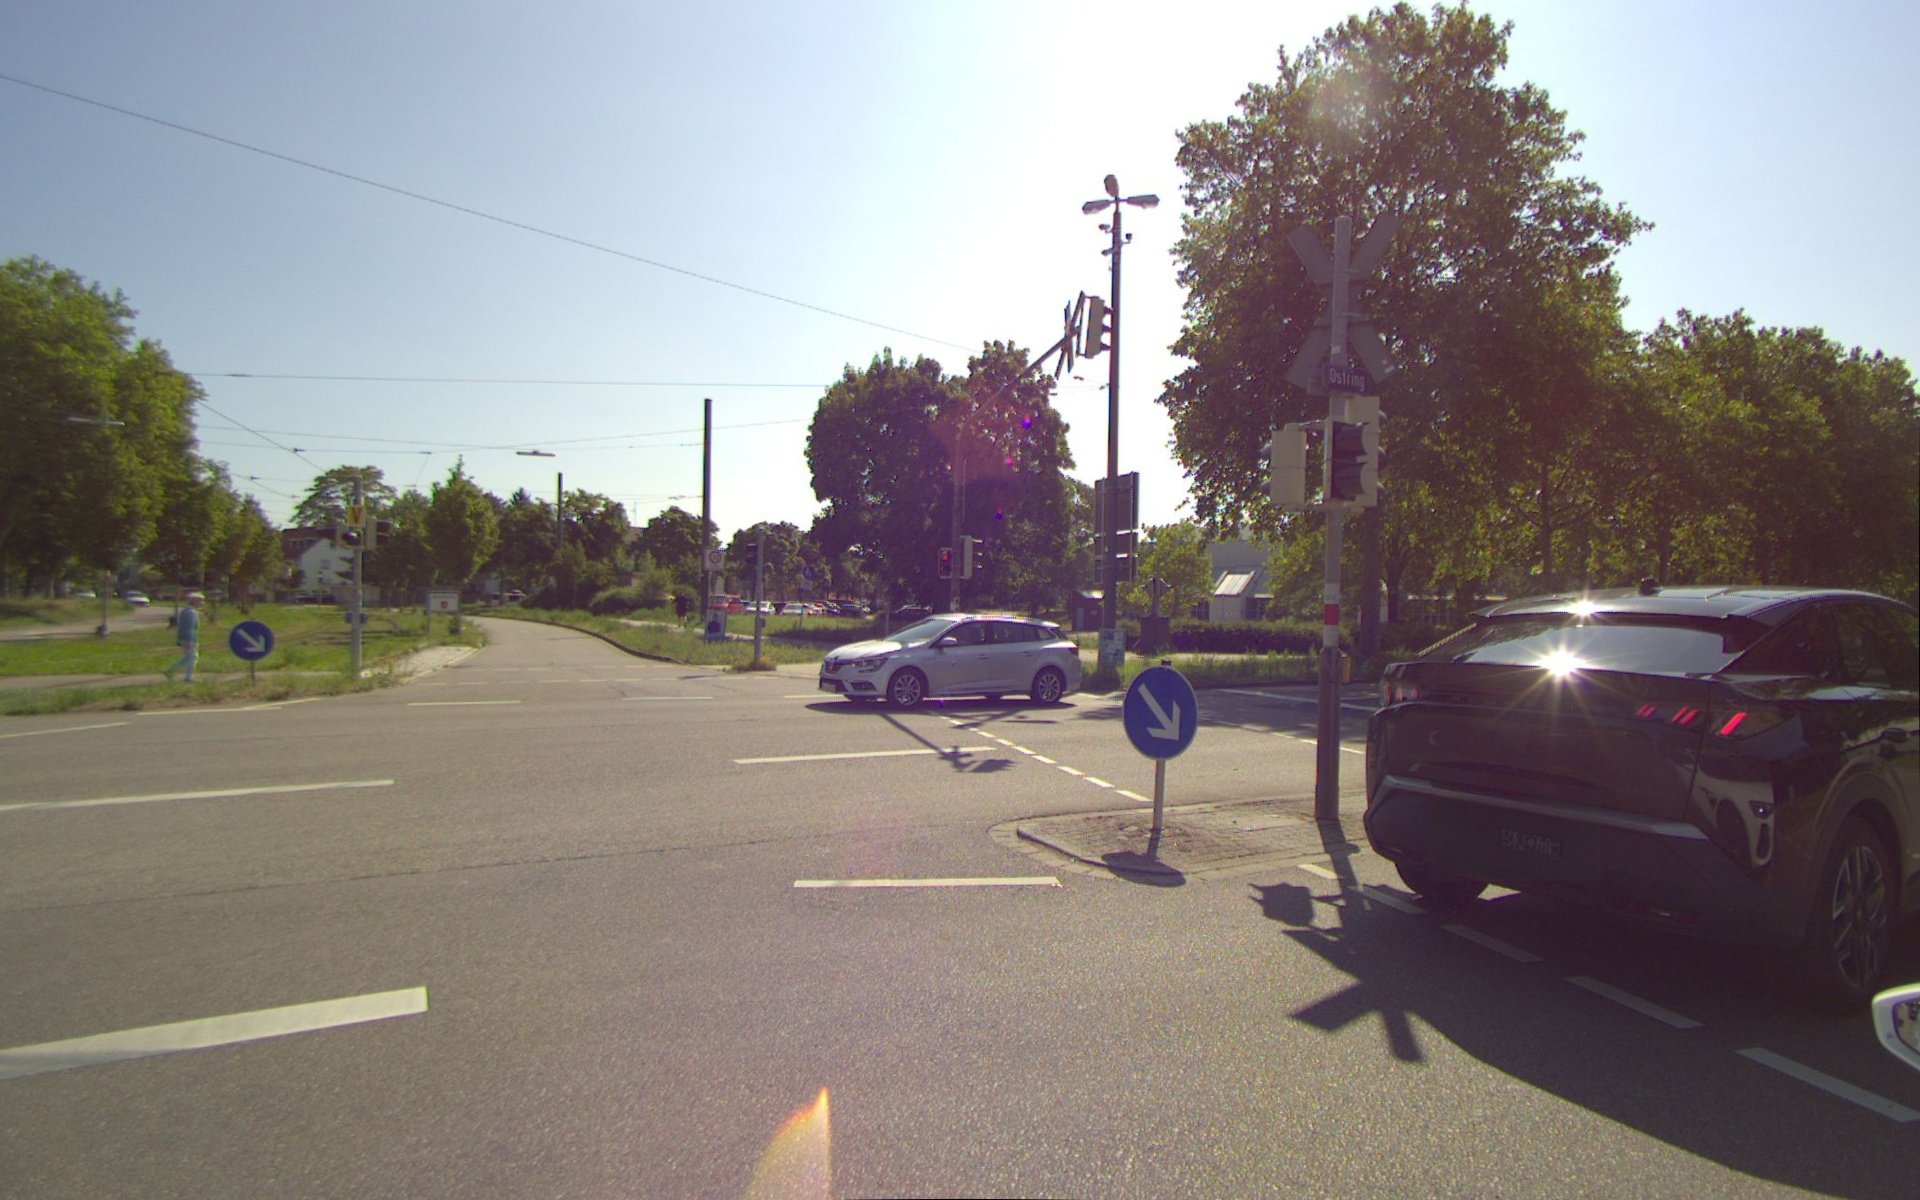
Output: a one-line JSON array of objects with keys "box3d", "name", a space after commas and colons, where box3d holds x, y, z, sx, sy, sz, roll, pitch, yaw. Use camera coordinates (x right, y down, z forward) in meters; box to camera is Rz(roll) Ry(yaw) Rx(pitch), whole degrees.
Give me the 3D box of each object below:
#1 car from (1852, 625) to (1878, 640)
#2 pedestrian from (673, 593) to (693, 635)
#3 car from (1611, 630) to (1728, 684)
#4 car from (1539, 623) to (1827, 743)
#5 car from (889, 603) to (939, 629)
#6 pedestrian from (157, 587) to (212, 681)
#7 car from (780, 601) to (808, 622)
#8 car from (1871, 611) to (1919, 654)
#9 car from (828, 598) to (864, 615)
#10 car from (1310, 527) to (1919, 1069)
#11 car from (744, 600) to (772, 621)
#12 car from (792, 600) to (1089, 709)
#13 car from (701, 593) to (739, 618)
[{"box3d": [97.515, 3.490, 108.239, 4.366, 1.576, 1.777, 2, -2, -44], "name": "car"}, {"box3d": [-13.784, 0.695, 49.943, 0.705, 2.040, 0.787, 1, 0, -37], "name": "pedestrian"}, {"box3d": [22.731, 1.765, 32.132, 4.389, 1.610, 1.697, 1, -2, -35], "name": "car"}, {"box3d": [10.629, 1.146, 14.745, 4.074, 1.528, 1.689, 1, 0, -26], "name": "car"}, {"box3d": [-3.685, 1.275, 80.019, 3.924, 2.040, 1.816, 1, -1, -5], "name": "car"}, {"box3d": [-13.265, 0.582, 17.189, 0.661, 1.582, 0.363, 1, 0, -29], "name": "pedestrian"}, {"box3d": [-12.199, 0.875, 73.922, 1.420, 1.466, 3.341, 2, 0, 0], "name": "car"}, {"box3d": [61.354, 2.136, 65.737, 7.167, 2.648, 2.041, 2, -2, -43], "name": "car"}, {"box3d": [-12.730, 0.740, 112.183, 3.854, 1.863, 1.769, 2, 0, -5], "name": "car"}, {"box3d": [4.026, 0.696, 5.137, 4.385, 1.718, 1.863, 2, -1, -31], "name": "car"}, {"box3d": [-14.837, 0.763, 73.759, 1.322, 1.466, 3.341, 2, 0, 0], "name": "car"}, {"box3d": [-0.228, 0.835, 16.238, 4.611, 1.528, 1.684, 2, 0, -33], "name": "car"}, {"box3d": [-17.619, 0.387, 73.992, 1.779, 1.725, 3.987, 2, 0, 0], "name": "car"}]
